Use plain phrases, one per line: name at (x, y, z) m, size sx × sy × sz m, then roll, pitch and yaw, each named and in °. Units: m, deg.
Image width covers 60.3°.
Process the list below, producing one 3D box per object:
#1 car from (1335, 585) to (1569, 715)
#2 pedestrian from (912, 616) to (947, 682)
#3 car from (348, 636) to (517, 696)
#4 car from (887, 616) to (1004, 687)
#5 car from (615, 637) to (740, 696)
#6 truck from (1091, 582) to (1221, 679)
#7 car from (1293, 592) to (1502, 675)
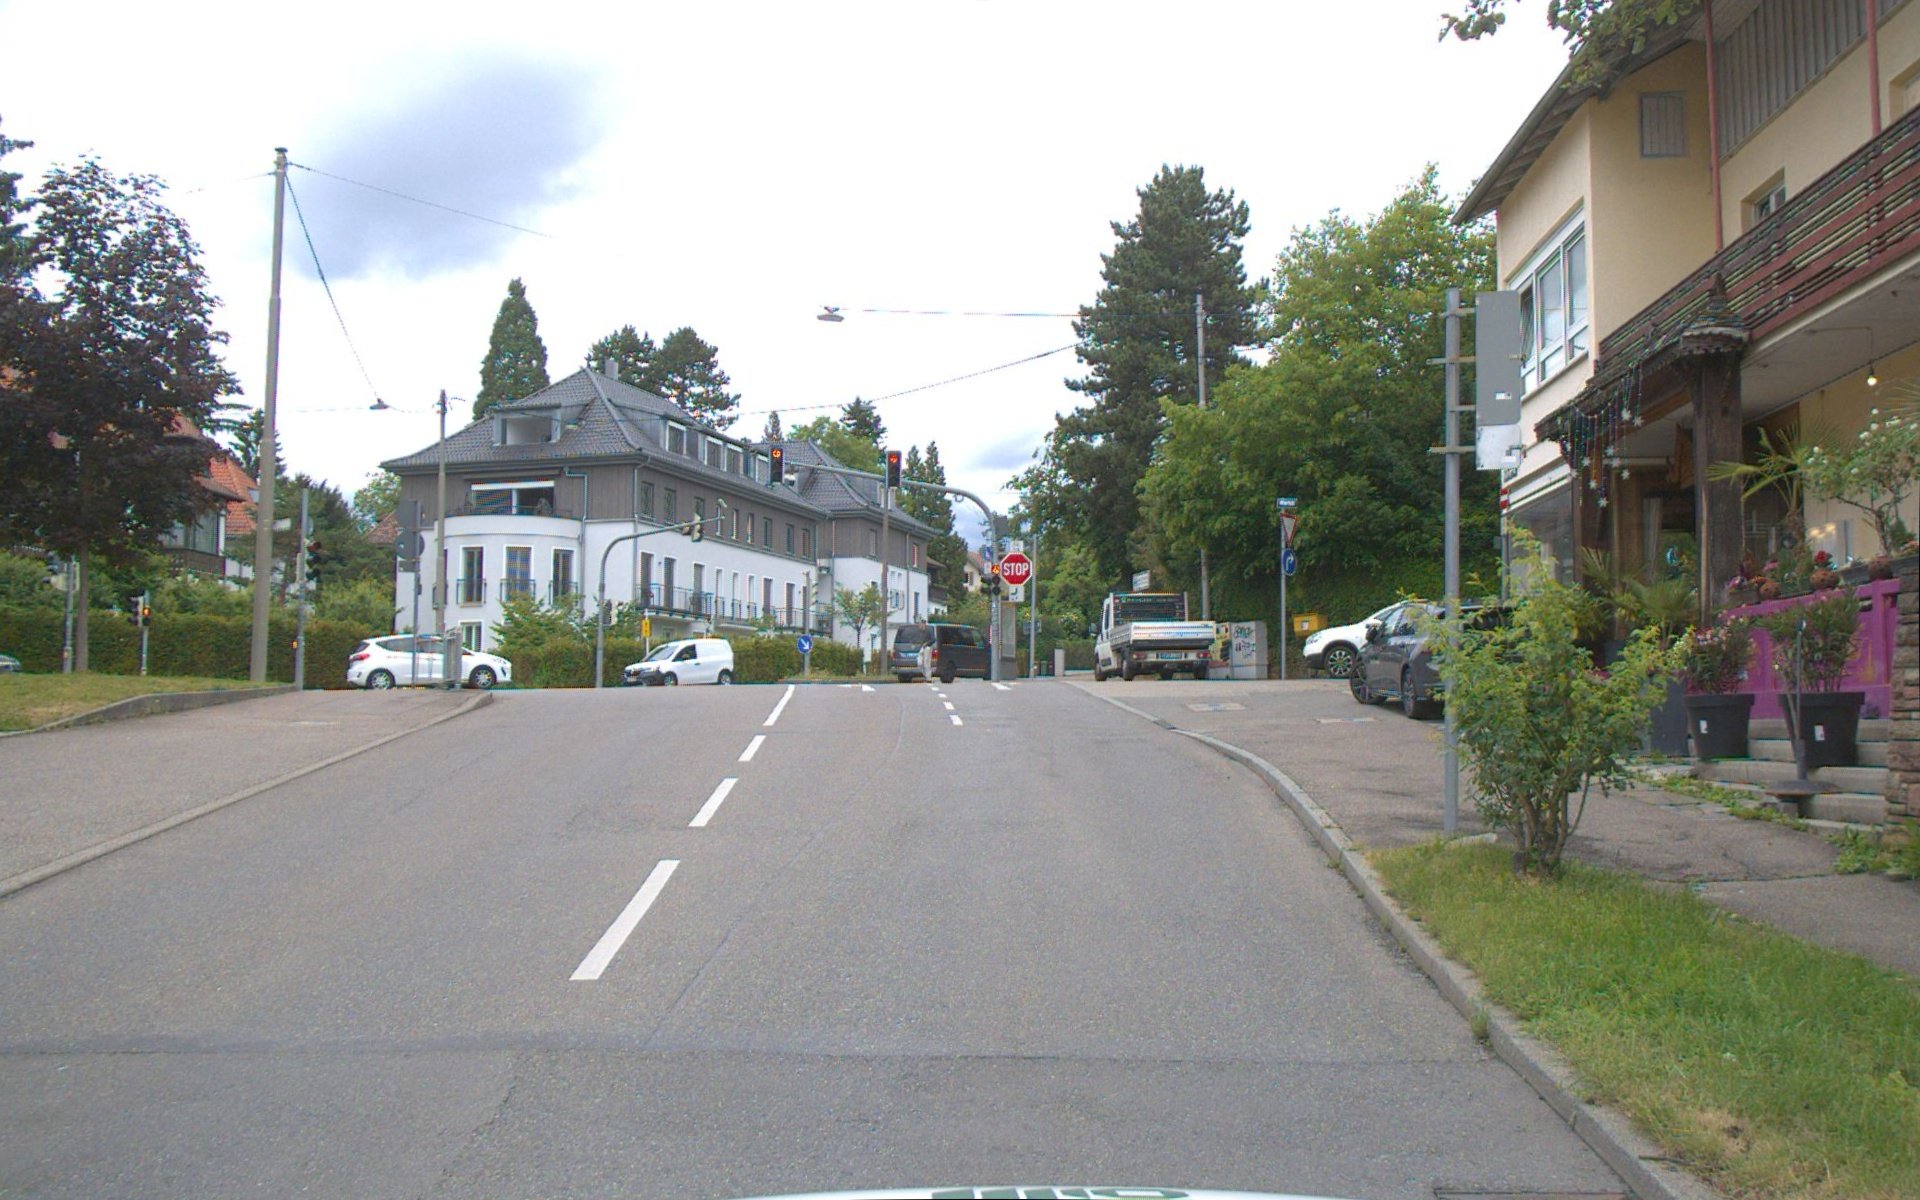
car at (6.499, 0.631, 22.361) m, size 1.810 × 1.498 × 4.385 m, roll -3°, pitch -1°, yaw 0°
pedestrian at (-0.797, 1.264, 43.016) m, size 0.690 × 1.711 × 0.679 m, roll 0°, pitch -1°, yaw -29°
car at (-13.410, 1.644, 42.030) m, size 3.933 × 1.407 × 1.923 m, roll 1°, pitch 0°, yaw -24°
car at (-0.437, 1.681, 55.410) m, size 1.955 × 2.048 × 4.504 m, roll -1°, pitch 2°, yaw 28°
car at (-9.871, 2.289, 58.091) m, size 1.958 × 1.889 × 4.341 m, roll 0°, pitch 0°, yaw 33°
truck at (4.847, 0.858, 41.868) m, size 2.141 × 2.234 × 5.875 m, roll 0°, pitch -3°, yaw -4°
car at (9.328, 0.750, 35.186) m, size 4.151 × 1.622 × 1.988 m, roll -1°, pitch -4°, yaw 19°
